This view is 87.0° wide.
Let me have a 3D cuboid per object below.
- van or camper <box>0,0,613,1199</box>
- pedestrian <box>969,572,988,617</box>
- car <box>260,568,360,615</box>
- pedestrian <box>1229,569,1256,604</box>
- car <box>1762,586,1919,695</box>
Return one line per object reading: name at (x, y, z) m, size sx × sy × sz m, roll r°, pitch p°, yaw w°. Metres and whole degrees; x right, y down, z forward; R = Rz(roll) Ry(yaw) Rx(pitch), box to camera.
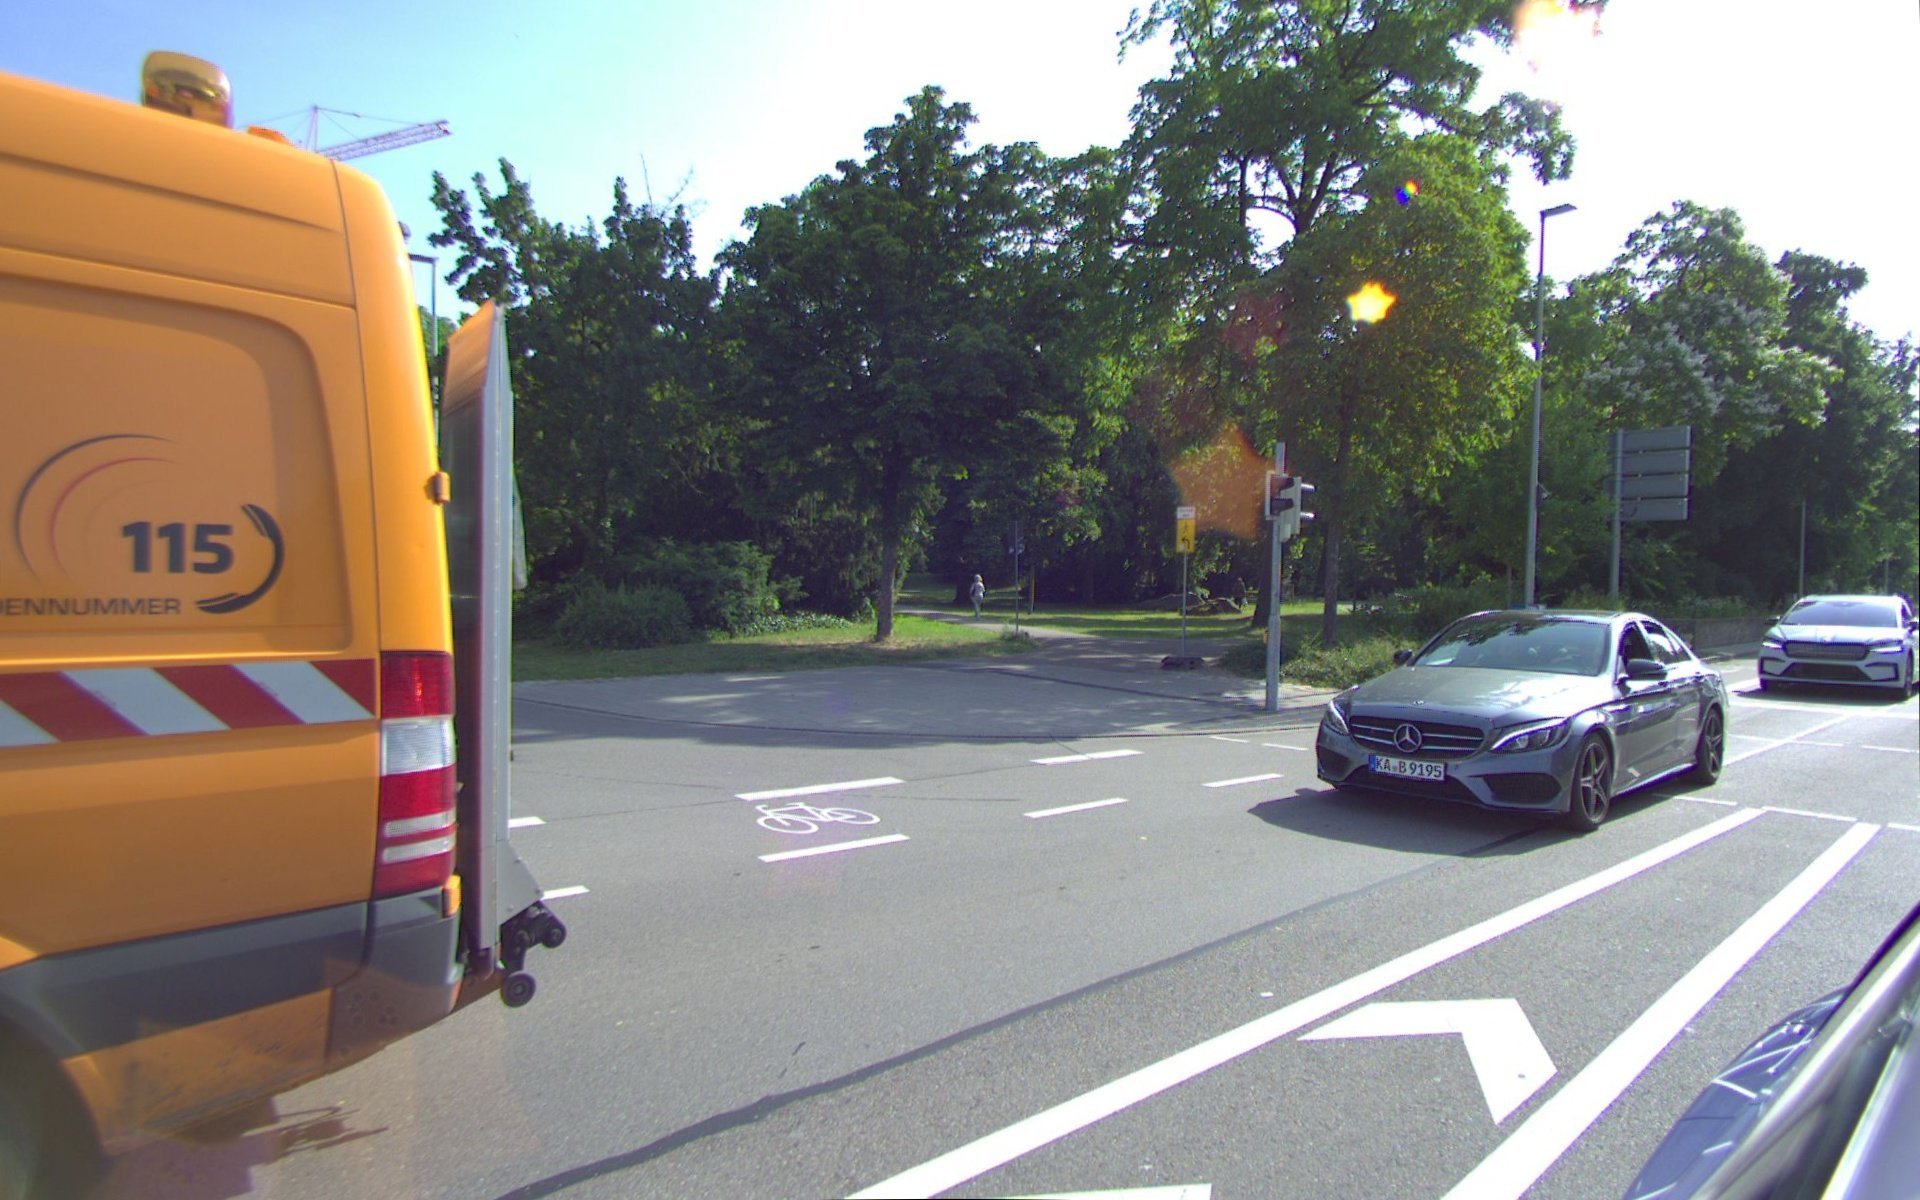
van or camper at (-3.844, 0.060, 1.542) m, size 5.950 × 2.503 × 1.991 m, roll 0°, pitch 1°, yaw -38°
pedestrian at (0.649, -0.196, 35.060) m, size 0.523 × 1.536 × 0.671 m, roll 1°, pitch 1°, yaw -9°
car at (-21.121, -0.311, 33.065) m, size 1.724 × 1.415 × 3.930 m, roll 1°, pitch 2°, yaw -17°
pedestrian at (15.237, -0.743, 54.641) m, size 1.048 × 1.853 × 0.987 m, roll 1°, pitch 1°, yaw -11°
car at (15.070, 0.573, 16.913) m, size 4.176 × 1.590 × 1.896 m, roll 0°, pitch 1°, yaw -41°
